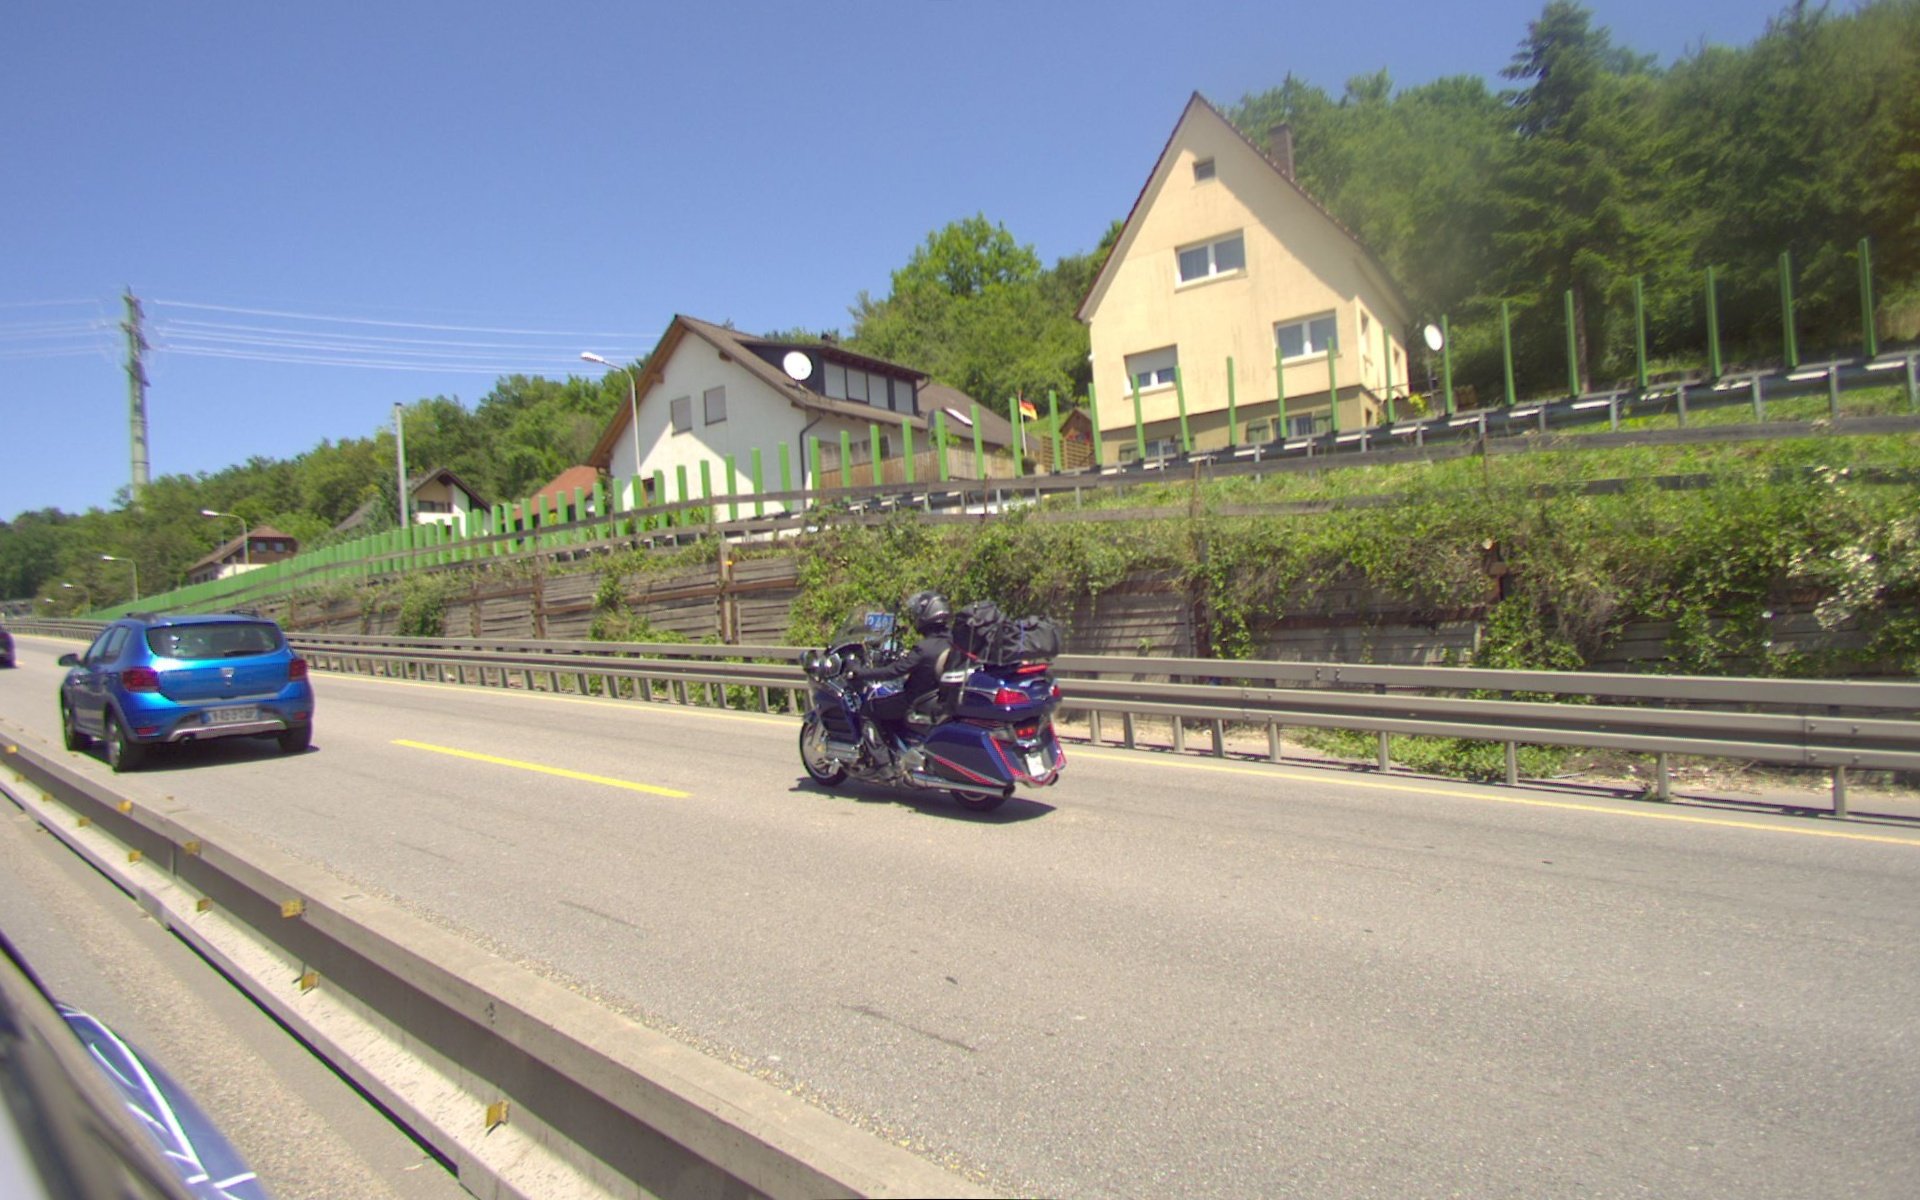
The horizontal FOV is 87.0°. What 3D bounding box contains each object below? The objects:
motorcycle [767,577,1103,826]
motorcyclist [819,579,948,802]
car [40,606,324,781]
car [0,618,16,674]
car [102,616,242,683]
[{"bbox_3d":[-0.281,0.670,7.509,2.619,1.563,0.782,-2,-1,41],"label":"motorcycle"},{"bbox_3d":[-0.582,0.649,7.737,0.736,1.597,0.658,-1,0,41],"label":"motorcyclist"},{"bbox_3d":[-8.862,0.918,11.424,3.888,1.622,1.746,-1,-1,40],"label":"car"},{"bbox_3d":[-28.970,1.313,29.382,4.291,1.541,1.824,0,0,41],"label":"car"},{"bbox_3d":[-20.203,1.179,25.863,5.003,1.459,1.795,0,2,40],"label":"car"}]
